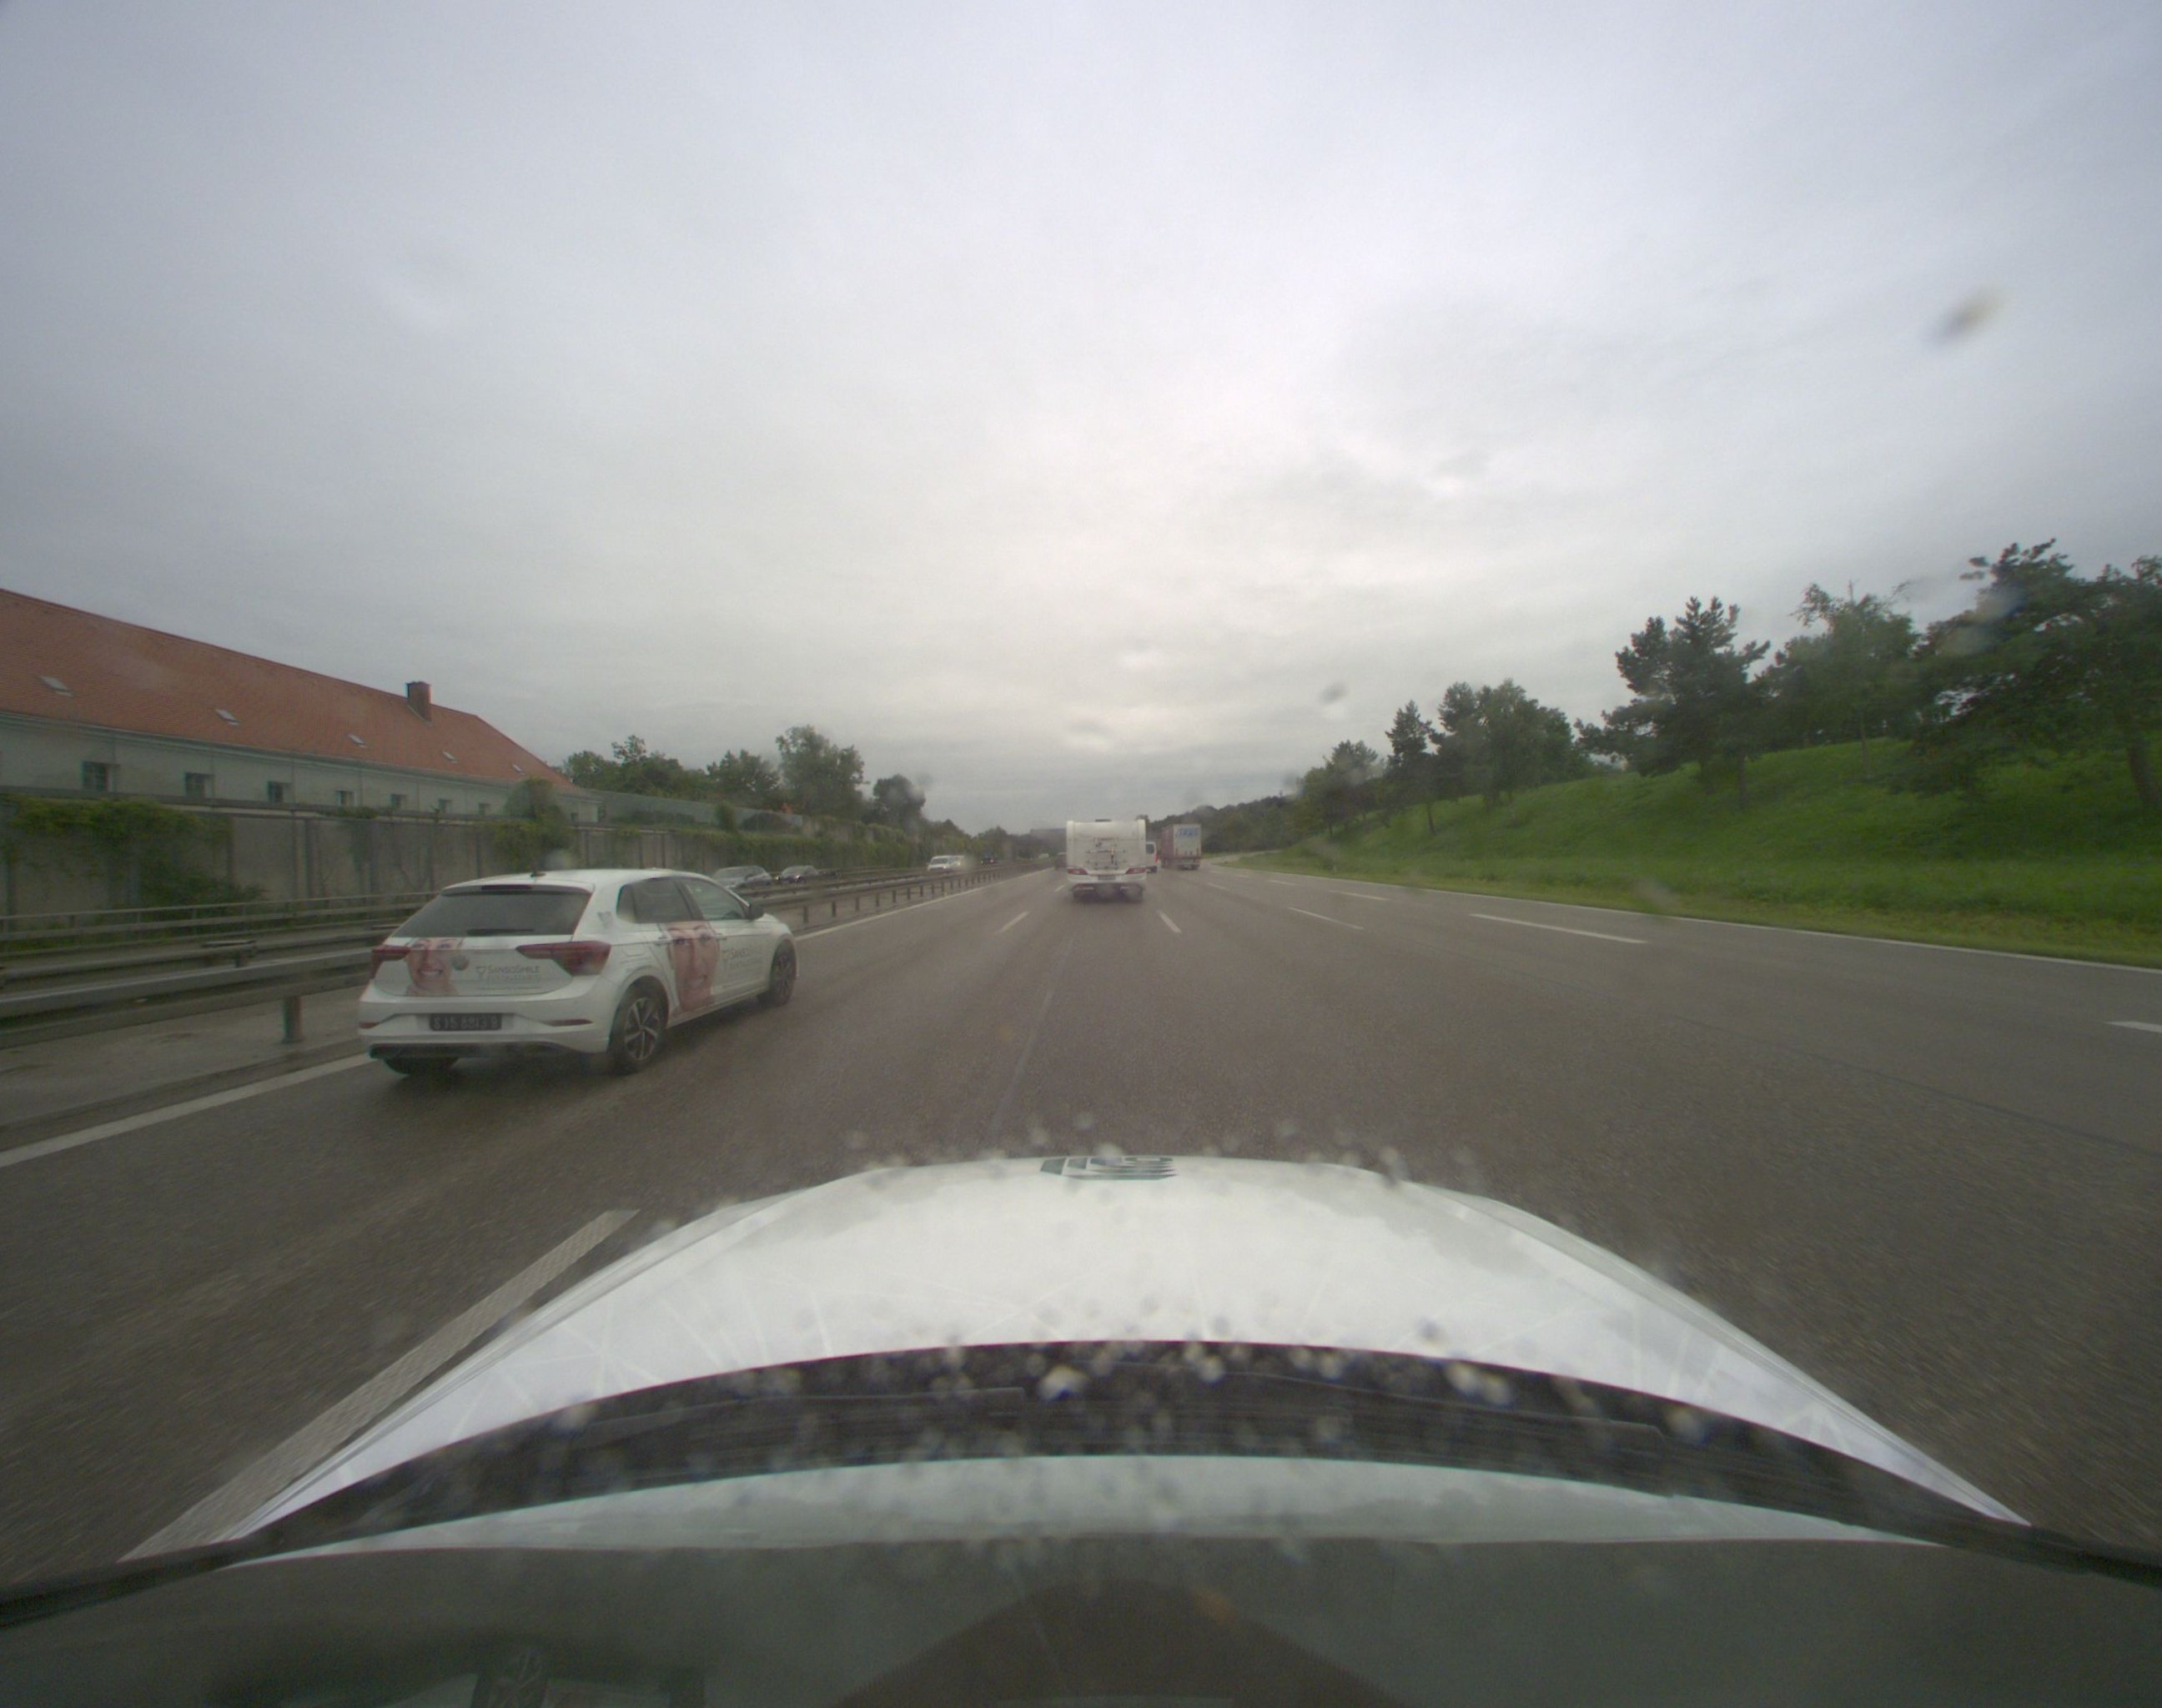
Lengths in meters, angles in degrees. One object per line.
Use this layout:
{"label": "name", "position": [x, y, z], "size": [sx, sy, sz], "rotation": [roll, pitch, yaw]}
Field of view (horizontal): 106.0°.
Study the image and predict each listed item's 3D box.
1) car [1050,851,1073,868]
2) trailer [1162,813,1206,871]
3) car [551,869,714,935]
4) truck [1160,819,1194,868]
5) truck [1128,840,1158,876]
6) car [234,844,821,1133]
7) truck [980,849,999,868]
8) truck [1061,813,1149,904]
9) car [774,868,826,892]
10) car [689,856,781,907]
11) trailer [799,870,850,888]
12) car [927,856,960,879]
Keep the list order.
{"label": "car", "position": [-1.849, 0.533, 78.300], "size": [1.986, 1.600, 5.124], "rotation": [0, 0, 1]}
{"label": "trailer", "position": [9.478, -1.004, 76.022], "size": [3.087, 4.922, 11.798], "rotation": [0, 0, 3]}
{"label": "car", "position": [-12.013, 1.215, 22.226], "size": [1.596, 1.406, 4.766], "rotation": [-6, 0, 1]}
{"label": "truck", "position": [9.814, -1.036, 83.731], "size": [3.037, 4.839, 5.852], "rotation": [0, -1, 2]}
{"label": "truck", "position": [4.933, 0.340, 65.235], "size": [2.046, 2.770, 5.550], "rotation": [0, 0, 1]}
{"label": "car", "position": [-3.956, 0.778, 7.048], "size": [1.747, 1.618, 4.665], "rotation": [-2, 0, 1]}
{"label": "truck", "position": [-17.762, 0.885, 159.124], "size": [2.682, 3.777, 8.337], "rotation": [0, 0, 1]}
{"label": "truck", "position": [0.772, 0.159, 27.205], "size": [2.651, 2.742, 5.078], "rotation": [0, 0, 1]}
{"label": "car", "position": [-20.086, 1.834, 58.417], "size": [1.948, 1.552, 4.525], "rotation": [0, 0, 3]}
{"label": "car", "position": [-14.968, 1.141, 35.554], "size": [1.926, 2.013, 4.732], "rotation": [-2, 0, 0]}
{"label": "trailer", "position": [-19.770, 1.907, 62.992], "size": [2.121, 1.267, 5.250], "rotation": [0, 0, 2]}
{"label": "car", "position": [-10.739, 1.066, 63.977], "size": [1.781, 1.751, 4.536], "rotation": [0, 0, 0]}
